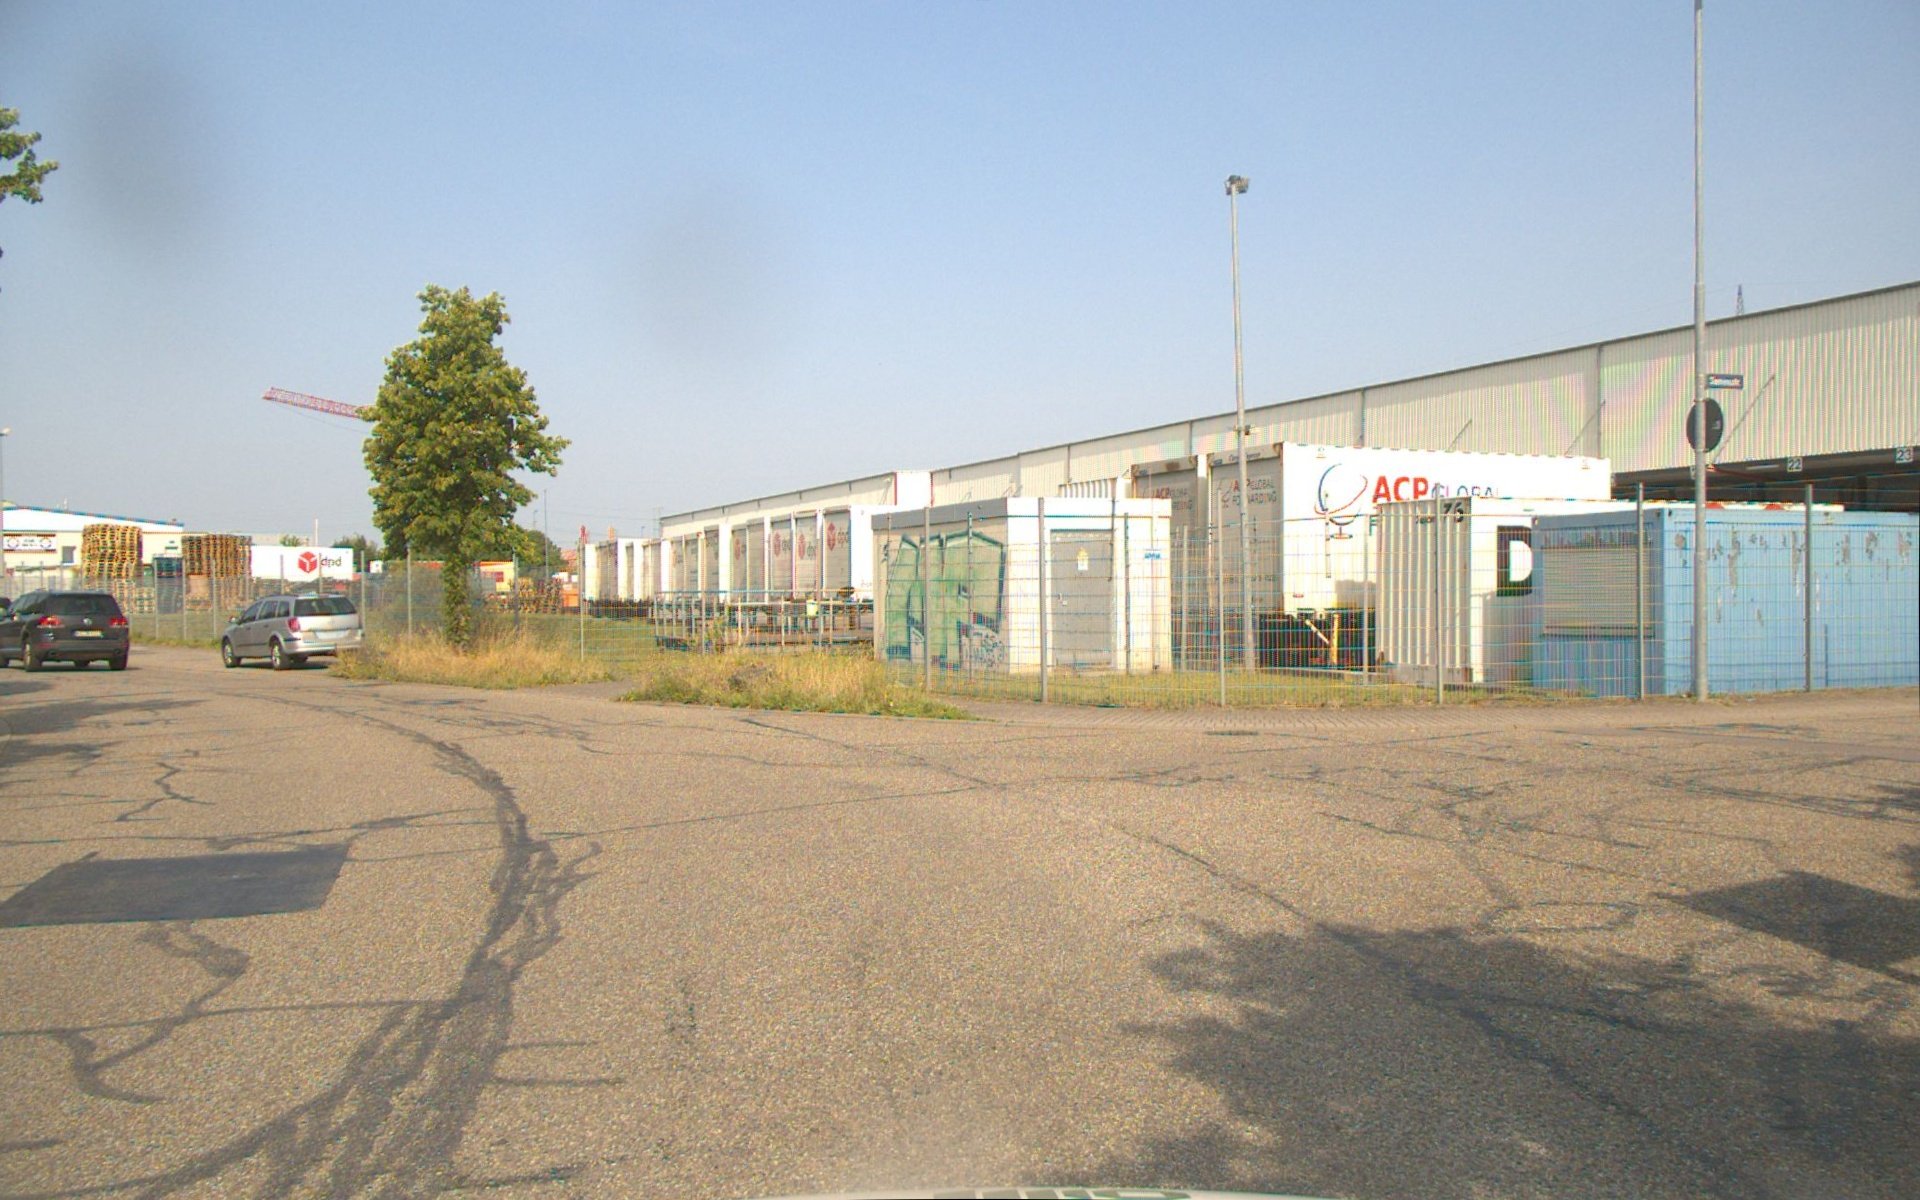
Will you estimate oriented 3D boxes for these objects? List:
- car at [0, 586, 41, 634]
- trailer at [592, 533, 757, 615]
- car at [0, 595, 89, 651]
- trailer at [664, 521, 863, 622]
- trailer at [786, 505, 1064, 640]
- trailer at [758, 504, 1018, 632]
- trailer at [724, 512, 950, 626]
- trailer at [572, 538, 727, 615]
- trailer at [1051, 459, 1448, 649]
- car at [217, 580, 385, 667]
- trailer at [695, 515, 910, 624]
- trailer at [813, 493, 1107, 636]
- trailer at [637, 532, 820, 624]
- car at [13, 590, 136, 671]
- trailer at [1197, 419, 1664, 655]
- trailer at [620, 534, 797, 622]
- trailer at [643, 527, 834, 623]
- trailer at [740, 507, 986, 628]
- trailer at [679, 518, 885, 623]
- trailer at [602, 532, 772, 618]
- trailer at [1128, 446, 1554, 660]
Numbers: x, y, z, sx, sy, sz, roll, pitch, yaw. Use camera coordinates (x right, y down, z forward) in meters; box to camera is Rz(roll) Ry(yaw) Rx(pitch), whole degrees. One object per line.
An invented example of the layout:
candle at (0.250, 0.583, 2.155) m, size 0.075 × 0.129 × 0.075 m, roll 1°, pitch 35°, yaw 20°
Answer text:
car at (-31.538, 0.326, 53.907) m, size 1.708 × 1.480 × 4.119 m, roll -4°, pitch 3°, yaw -44°
trailer at (-14.629, -1.297, 84.762) m, size 7.861 × 3.961 × 2.754 m, roll 1°, pitch 0°, yaw -25°
car at (-28.189, 0.676, 50.502) m, size 3.937 × 1.541 × 1.708 m, roll 0°, pitch 3°, yaw 45°
trailer at (-8.313, -1.162, 70.145) m, size 7.861 × 3.961 × 2.754 m, roll 1°, pitch 0°, yaw -25°
trailer at (-1.063, -0.814, 52.594) m, size 8.427 × 3.961 × 2.754 m, roll 1°, pitch 0°, yaw -25°
trailer at (-2.371, -1.011, 55.291) m, size 8.201 × 3.961 × 2.754 m, roll 1°, pitch 0°, yaw -25°
trailer at (-4.582, -1.105, 61.950) m, size 7.930 × 3.961 × 2.754 m, roll 1°, pitch 0°, yaw -25°
trailer at (-16.910, -1.260, 90.224) m, size 7.861 × 3.961 × 2.721 m, roll 1°, pitch 0°, yaw -25°
trailer at (6.433, -0.932, 36.397) m, size 8.619 × 3.826 × 2.769 m, roll 0°, pitch 0°, yaw -25°
car at (-14.000, 0.454, 35.026) m, size 1.791 × 1.654 × 4.378 m, roll -4°, pitch 3°, yaw -43°
trailer at (-6.117, -1.153, 64.499) m, size 7.861 × 3.961 × 2.754 m, roll 1°, pitch 0°, yaw -25°
trailer at (0.042, -0.978, 49.707) m, size 8.427 × 3.961 × 2.754 m, roll 1°, pitch 0°, yaw -25°
trailer at (-10.650, -0.967, 76.206) m, size 7.861 × 3.961 × 2.754 m, roll 1°, pitch 0°, yaw -25°
car at (-19.263, 0.634, 35.909) m, size 1.866 × 1.614 × 4.062 m, roll -1°, pitch 0°, yaw -35°
trailer at (8.792, -1.072, 30.778) m, size 8.418 × 3.962 × 2.756 m, roll -1°, pitch -2°, yaw -23°
trailer at (-11.983, -1.013, 79.010) m, size 7.861 × 3.961 × 2.754 m, roll 1°, pitch 0°, yaw -25°
trailer at (-9.739, -1.051, 72.959) m, size 7.861 × 3.961 × 2.754 m, roll 1°, pitch 0°, yaw -25°
trailer at (-3.375, -1.079, 58.178) m, size 8.201 × 3.961 × 2.754 m, roll 1°, pitch 0°, yaw -25°
trailer at (-7.216, -1.147, 67.293) m, size 7.861 × 3.961 × 2.754 m, roll 1°, pitch 0°, yaw -25°
trailer at (-13.506, -1.210, 81.991) m, size 7.861 × 3.961 × 2.754 m, roll 1°, pitch 0°, yaw -25°
trailer at (7.791, -0.995, 33.594) m, size 8.422 × 3.961 × 2.756 m, roll -2°, pitch 1°, yaw -24°
